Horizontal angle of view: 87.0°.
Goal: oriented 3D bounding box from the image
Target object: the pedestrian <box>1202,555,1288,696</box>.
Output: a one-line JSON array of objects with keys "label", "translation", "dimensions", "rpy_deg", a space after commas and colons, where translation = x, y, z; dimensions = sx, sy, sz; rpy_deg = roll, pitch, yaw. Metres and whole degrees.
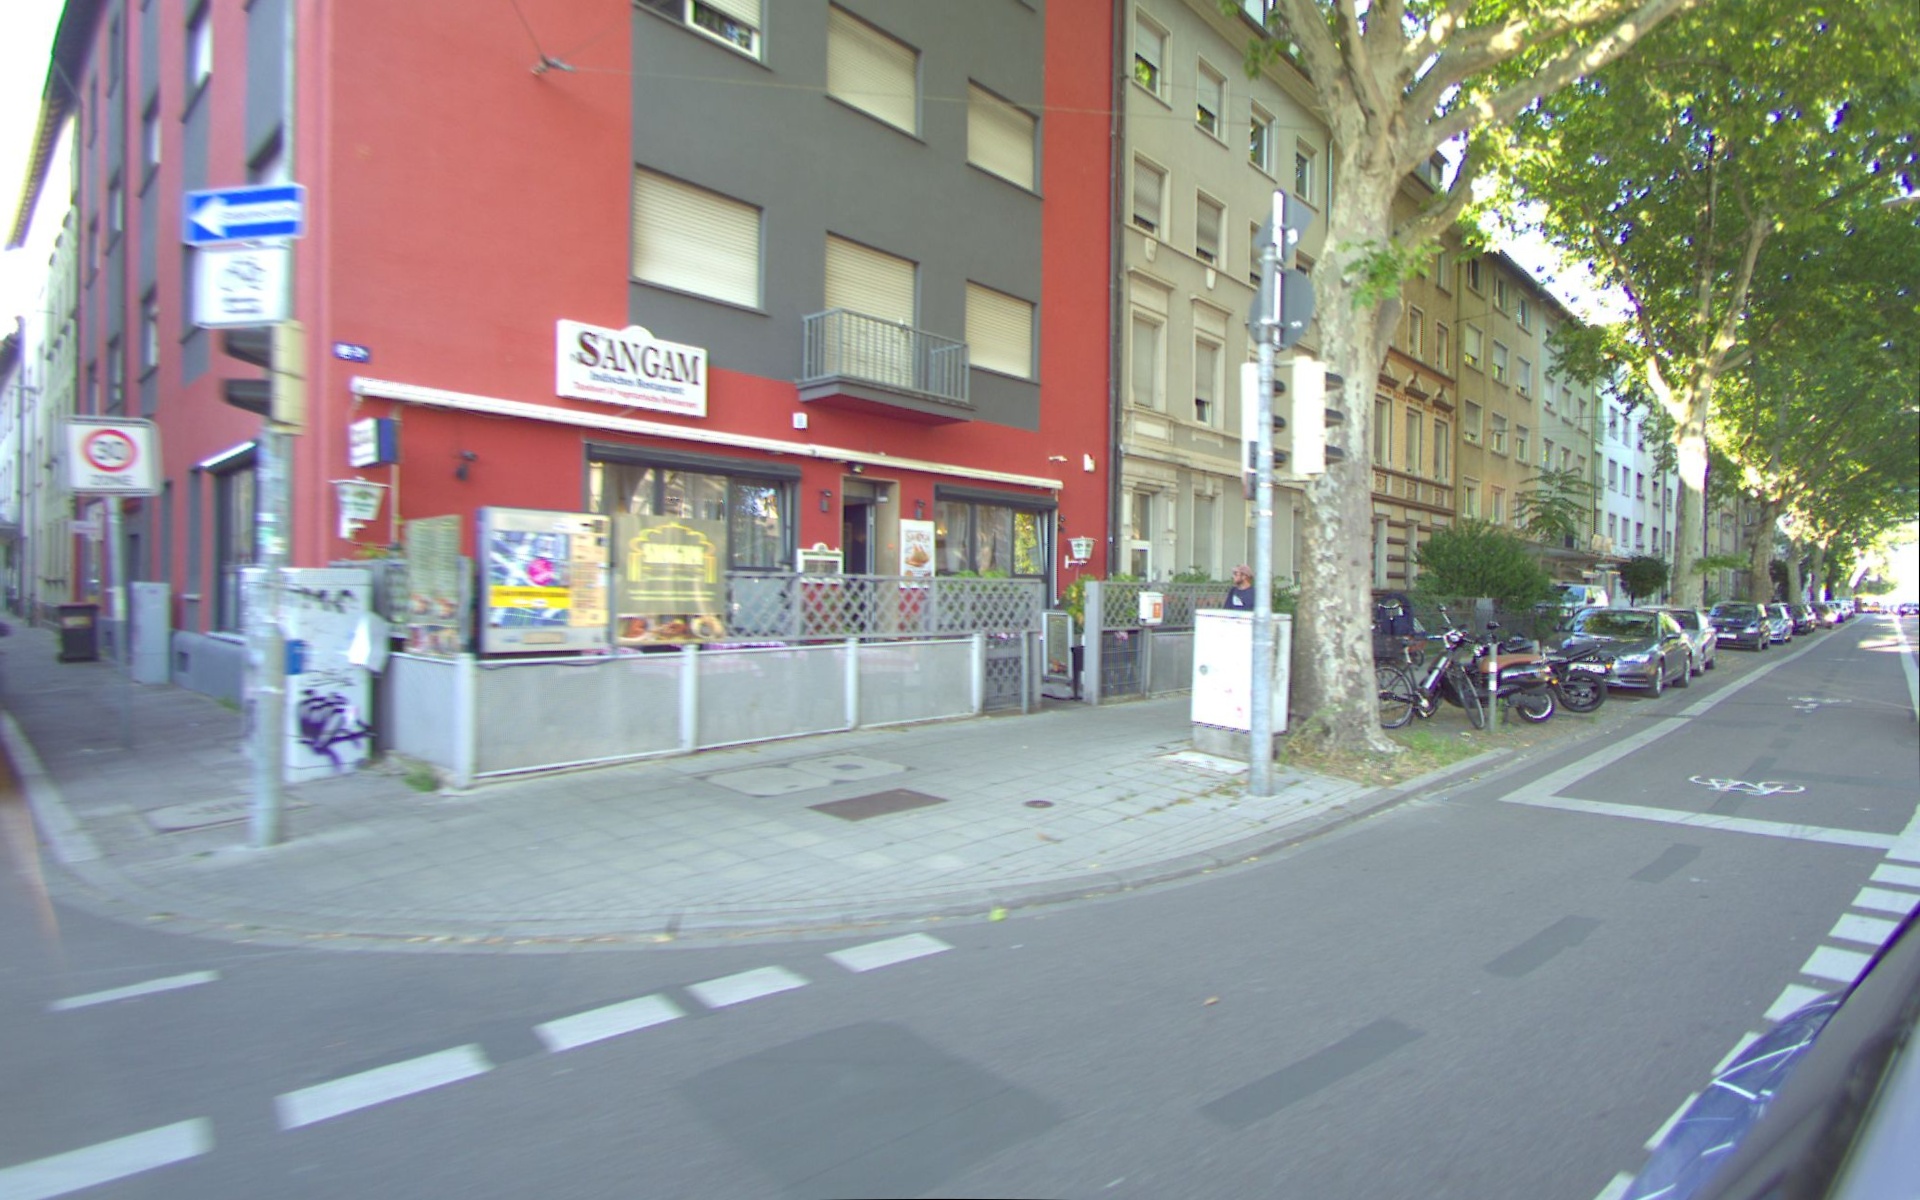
[{"label": "pedestrian", "translation": [3.669, 0.297, 13.031], "dimensions": [0.727, 1.731, 0.803], "rpy_deg": [4, 3, 44]}]

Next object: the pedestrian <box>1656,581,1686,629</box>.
[{"label": "pedestrian", "translation": [23.972, 0.154, 34.108], "dimensions": [0.726, 1.600, 0.691], "rpy_deg": [1, 1, 44]}]

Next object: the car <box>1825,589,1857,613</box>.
[{"label": "car", "translation": [71.467, 0.068, 82.079], "dimensions": [1.798, 1.774, 4.041], "rpy_deg": [4, 3, 43]}]

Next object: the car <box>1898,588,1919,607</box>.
[{"label": "car", "translation": [105.560, -0.302, 112.405], "dimensions": [1.993, 2.039, 3.937], "rpy_deg": [-2, -1, 43]}]

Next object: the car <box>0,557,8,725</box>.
[{"label": "car", "translation": [-12.296, 0.402, 11.649], "dimensions": [4.602, 1.762, 1.744], "rpy_deg": [1, 1, 44]}]

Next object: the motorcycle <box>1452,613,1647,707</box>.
[{"label": "motorcycle", "translation": [8.113, 0.804, 14.040], "dimensions": [2.184, 1.125, 0.660], "rpy_deg": [3, 0, 18]}]

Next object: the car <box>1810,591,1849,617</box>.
[{"label": "car", "translation": [58.873, 0.218, 68.531], "dimensions": [1.798, 1.628, 4.041], "rpy_deg": [4, 3, 43]}]

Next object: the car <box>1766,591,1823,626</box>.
[{"label": "car", "translation": [39.741, 0.363, 48.164], "dimensions": [1.798, 1.521, 4.302], "rpy_deg": [4, 3, 43]}]

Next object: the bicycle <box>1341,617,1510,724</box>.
[{"label": "bicycle", "translation": [5.304, 0.802, 11.536], "dimensions": [1.762, 1.125, 0.622], "rpy_deg": [2, 0, -19]}]

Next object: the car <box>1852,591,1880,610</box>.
[{"label": "car", "translation": [83.842, 0.025, 93.627], "dimensions": [1.798, 1.627, 3.645], "rpy_deg": [4, 3, 43]}]

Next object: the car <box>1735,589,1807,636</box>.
[{"label": "car", "translation": [30.879, 0.422, 38.484], "dimensions": [1.798, 1.628, 4.302], "rpy_deg": [4, 3, 43]}]

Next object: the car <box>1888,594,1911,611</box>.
[{"label": "car", "translation": [117.877, 0.338, 126.944], "dimensions": [1.993, 2.039, 3.936], "rpy_deg": [-2, -1, 44]}]

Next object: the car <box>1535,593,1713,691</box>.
[{"label": "car", "translation": [11.745, 0.634, 17.780], "dimensions": [1.799, 1.419, 4.301], "rpy_deg": [4, 3, 44]}]

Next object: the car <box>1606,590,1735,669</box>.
[{"label": "car", "translation": [15.757, 0.563, 22.345], "dimensions": [1.797, 1.473, 4.444], "rpy_deg": [4, 3, 42]}]

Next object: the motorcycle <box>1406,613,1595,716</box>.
[{"label": "motorcycle", "translation": [6.657, 0.783, 12.530], "dimensions": [1.855, 1.125, 0.785], "rpy_deg": [3, 0, 2]}]

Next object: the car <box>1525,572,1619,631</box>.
[{"label": "car", "translation": [22.014, 0.010, 36.337], "dimensions": [1.928, 1.897, 4.605], "rpy_deg": [4, 3, 43]}]

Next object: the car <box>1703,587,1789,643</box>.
[{"label": "car", "translation": [25.702, 0.425, 33.036], "dimensions": [1.798, 1.628, 4.302], "rpy_deg": [4, 3, 43]}]

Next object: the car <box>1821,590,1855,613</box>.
[{"label": "car", "translation": [67.434, 0.065, 77.715], "dimensions": [1.798, 1.628, 4.041], "rpy_deg": [4, 3, 43]}]

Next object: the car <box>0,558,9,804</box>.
[{"label": "car", "translation": [-8.802, 0.540, 7.945], "dimensions": [4.341, 1.708, 1.744], "rpy_deg": [1, 1, 44]}]

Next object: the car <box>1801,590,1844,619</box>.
[{"label": "car", "translation": [53.504, 0.253, 62.761], "dimensions": [1.798, 1.628, 4.041], "rpy_deg": [4, 3, 43]}]

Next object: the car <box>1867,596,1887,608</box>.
[{"label": "car", "translation": [151.182, 0.351, 166.869], "dimensions": [3.931, 1.885, 1.996], "rpy_deg": [-1, -1, -41]}]

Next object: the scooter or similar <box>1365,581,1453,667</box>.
[{"label": "scooter or similar", "translation": [8.283, 0.400, 18.612], "dimensions": [0.664, 1.488, 2.504], "rpy_deg": [1, 1, 44]}]
